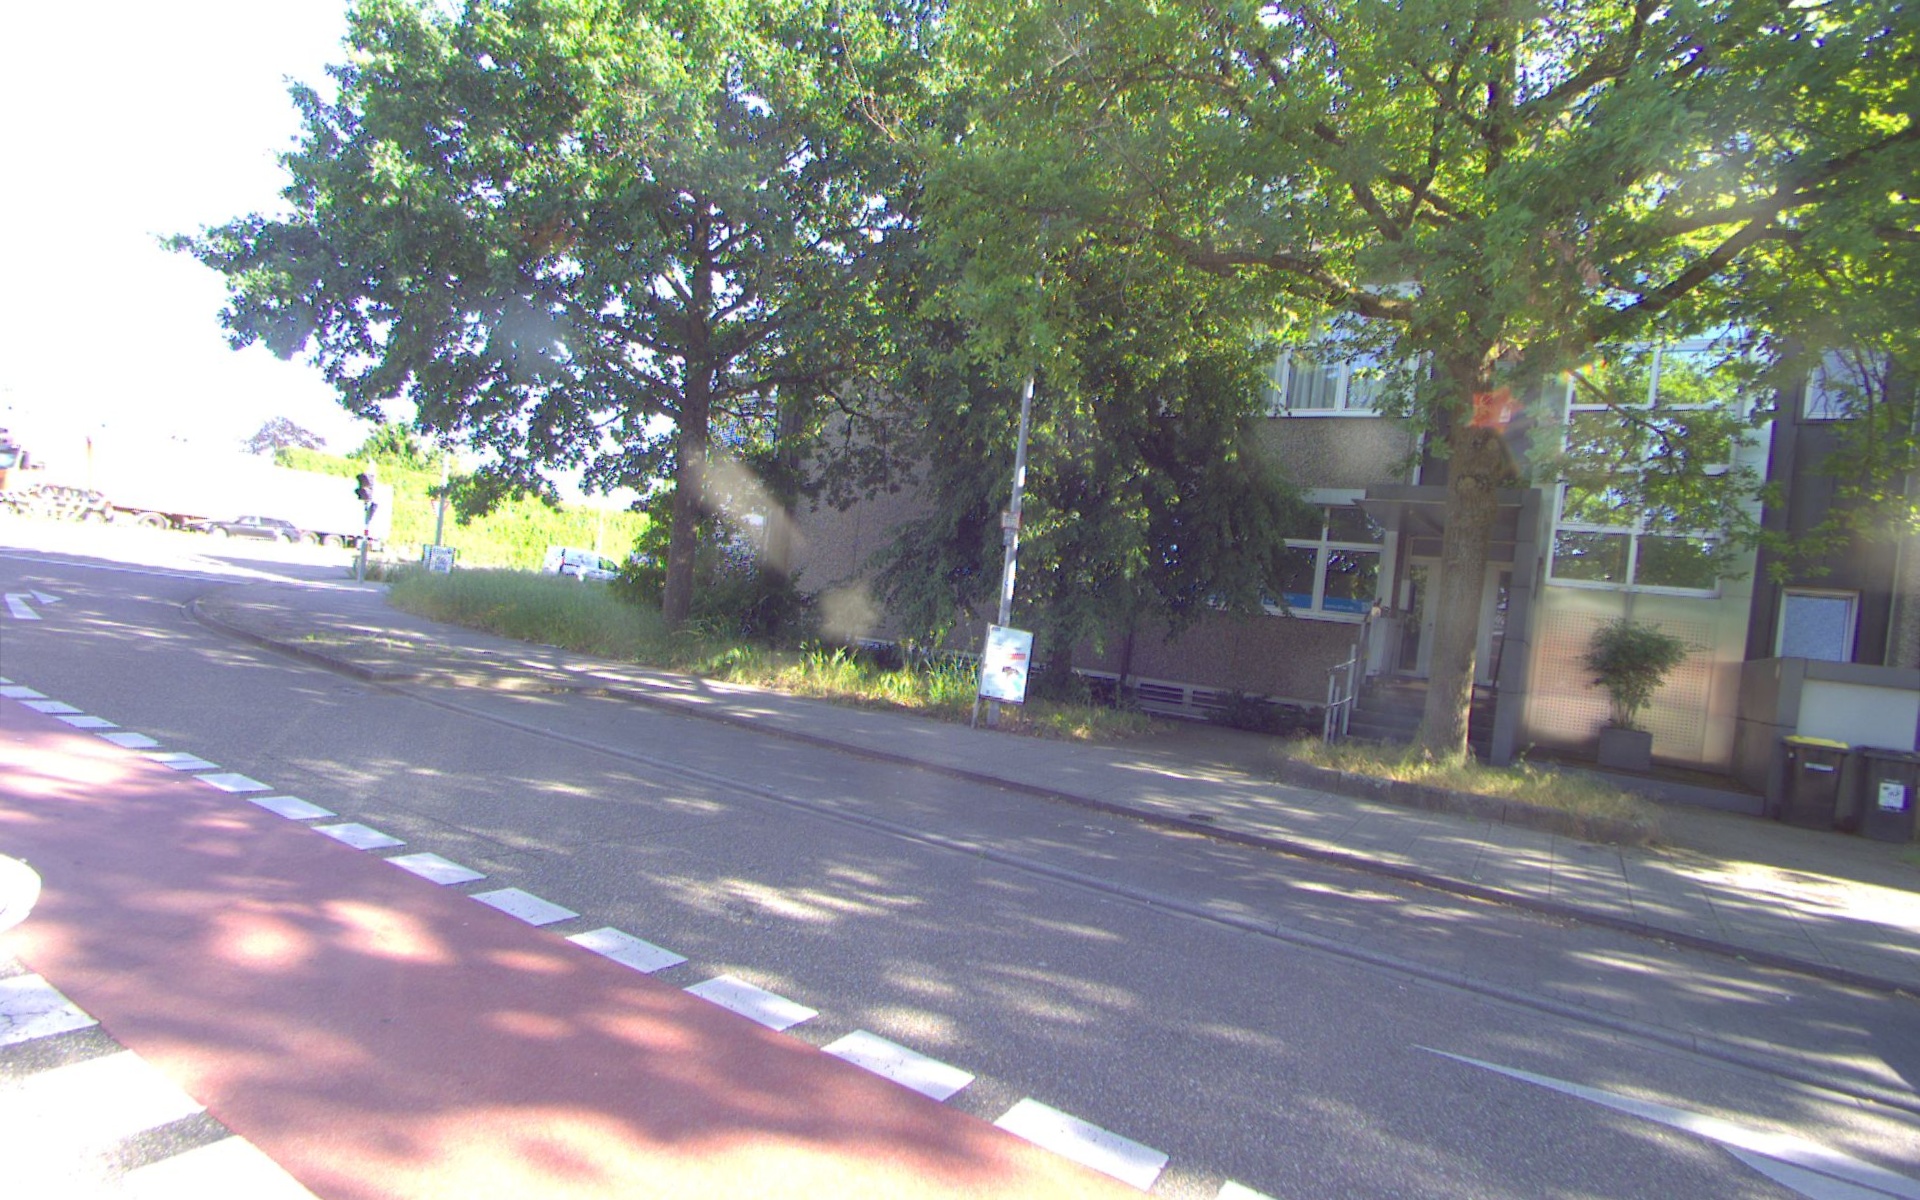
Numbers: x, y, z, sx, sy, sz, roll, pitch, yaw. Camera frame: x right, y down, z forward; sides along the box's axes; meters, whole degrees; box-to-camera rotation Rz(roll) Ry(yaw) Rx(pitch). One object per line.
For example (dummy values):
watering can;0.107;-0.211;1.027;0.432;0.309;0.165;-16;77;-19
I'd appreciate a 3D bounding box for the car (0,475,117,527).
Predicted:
car;-33.830;-3.681;36.864;1.548;1.317;4.170;6;-2;28

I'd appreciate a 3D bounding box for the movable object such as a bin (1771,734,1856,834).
movable object such as a bin;10.199;2.183;12.044;0.571;1.045;0.713;7;0;31

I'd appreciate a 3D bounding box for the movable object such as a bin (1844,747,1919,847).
movable object such as a bin;10.803;2.280;11.716;0.566;1.019;0.629;6;-1;31

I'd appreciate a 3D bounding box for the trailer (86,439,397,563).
trailer;-34.958;-4.603;50.065;2.426;4.078;12.768;7;-1;25

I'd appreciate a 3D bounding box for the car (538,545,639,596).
car;-16.999;-1.341;46.196;1.436;1.823;4.109;6;-1;38

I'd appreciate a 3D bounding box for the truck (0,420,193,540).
truck;-37.840;-5.083;43.768;2.429;4.047;6.415;7;0;25

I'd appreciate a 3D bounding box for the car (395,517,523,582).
car;-13.886;-1.362;28.092;1.433;1.311;3.412;7;-2;7
